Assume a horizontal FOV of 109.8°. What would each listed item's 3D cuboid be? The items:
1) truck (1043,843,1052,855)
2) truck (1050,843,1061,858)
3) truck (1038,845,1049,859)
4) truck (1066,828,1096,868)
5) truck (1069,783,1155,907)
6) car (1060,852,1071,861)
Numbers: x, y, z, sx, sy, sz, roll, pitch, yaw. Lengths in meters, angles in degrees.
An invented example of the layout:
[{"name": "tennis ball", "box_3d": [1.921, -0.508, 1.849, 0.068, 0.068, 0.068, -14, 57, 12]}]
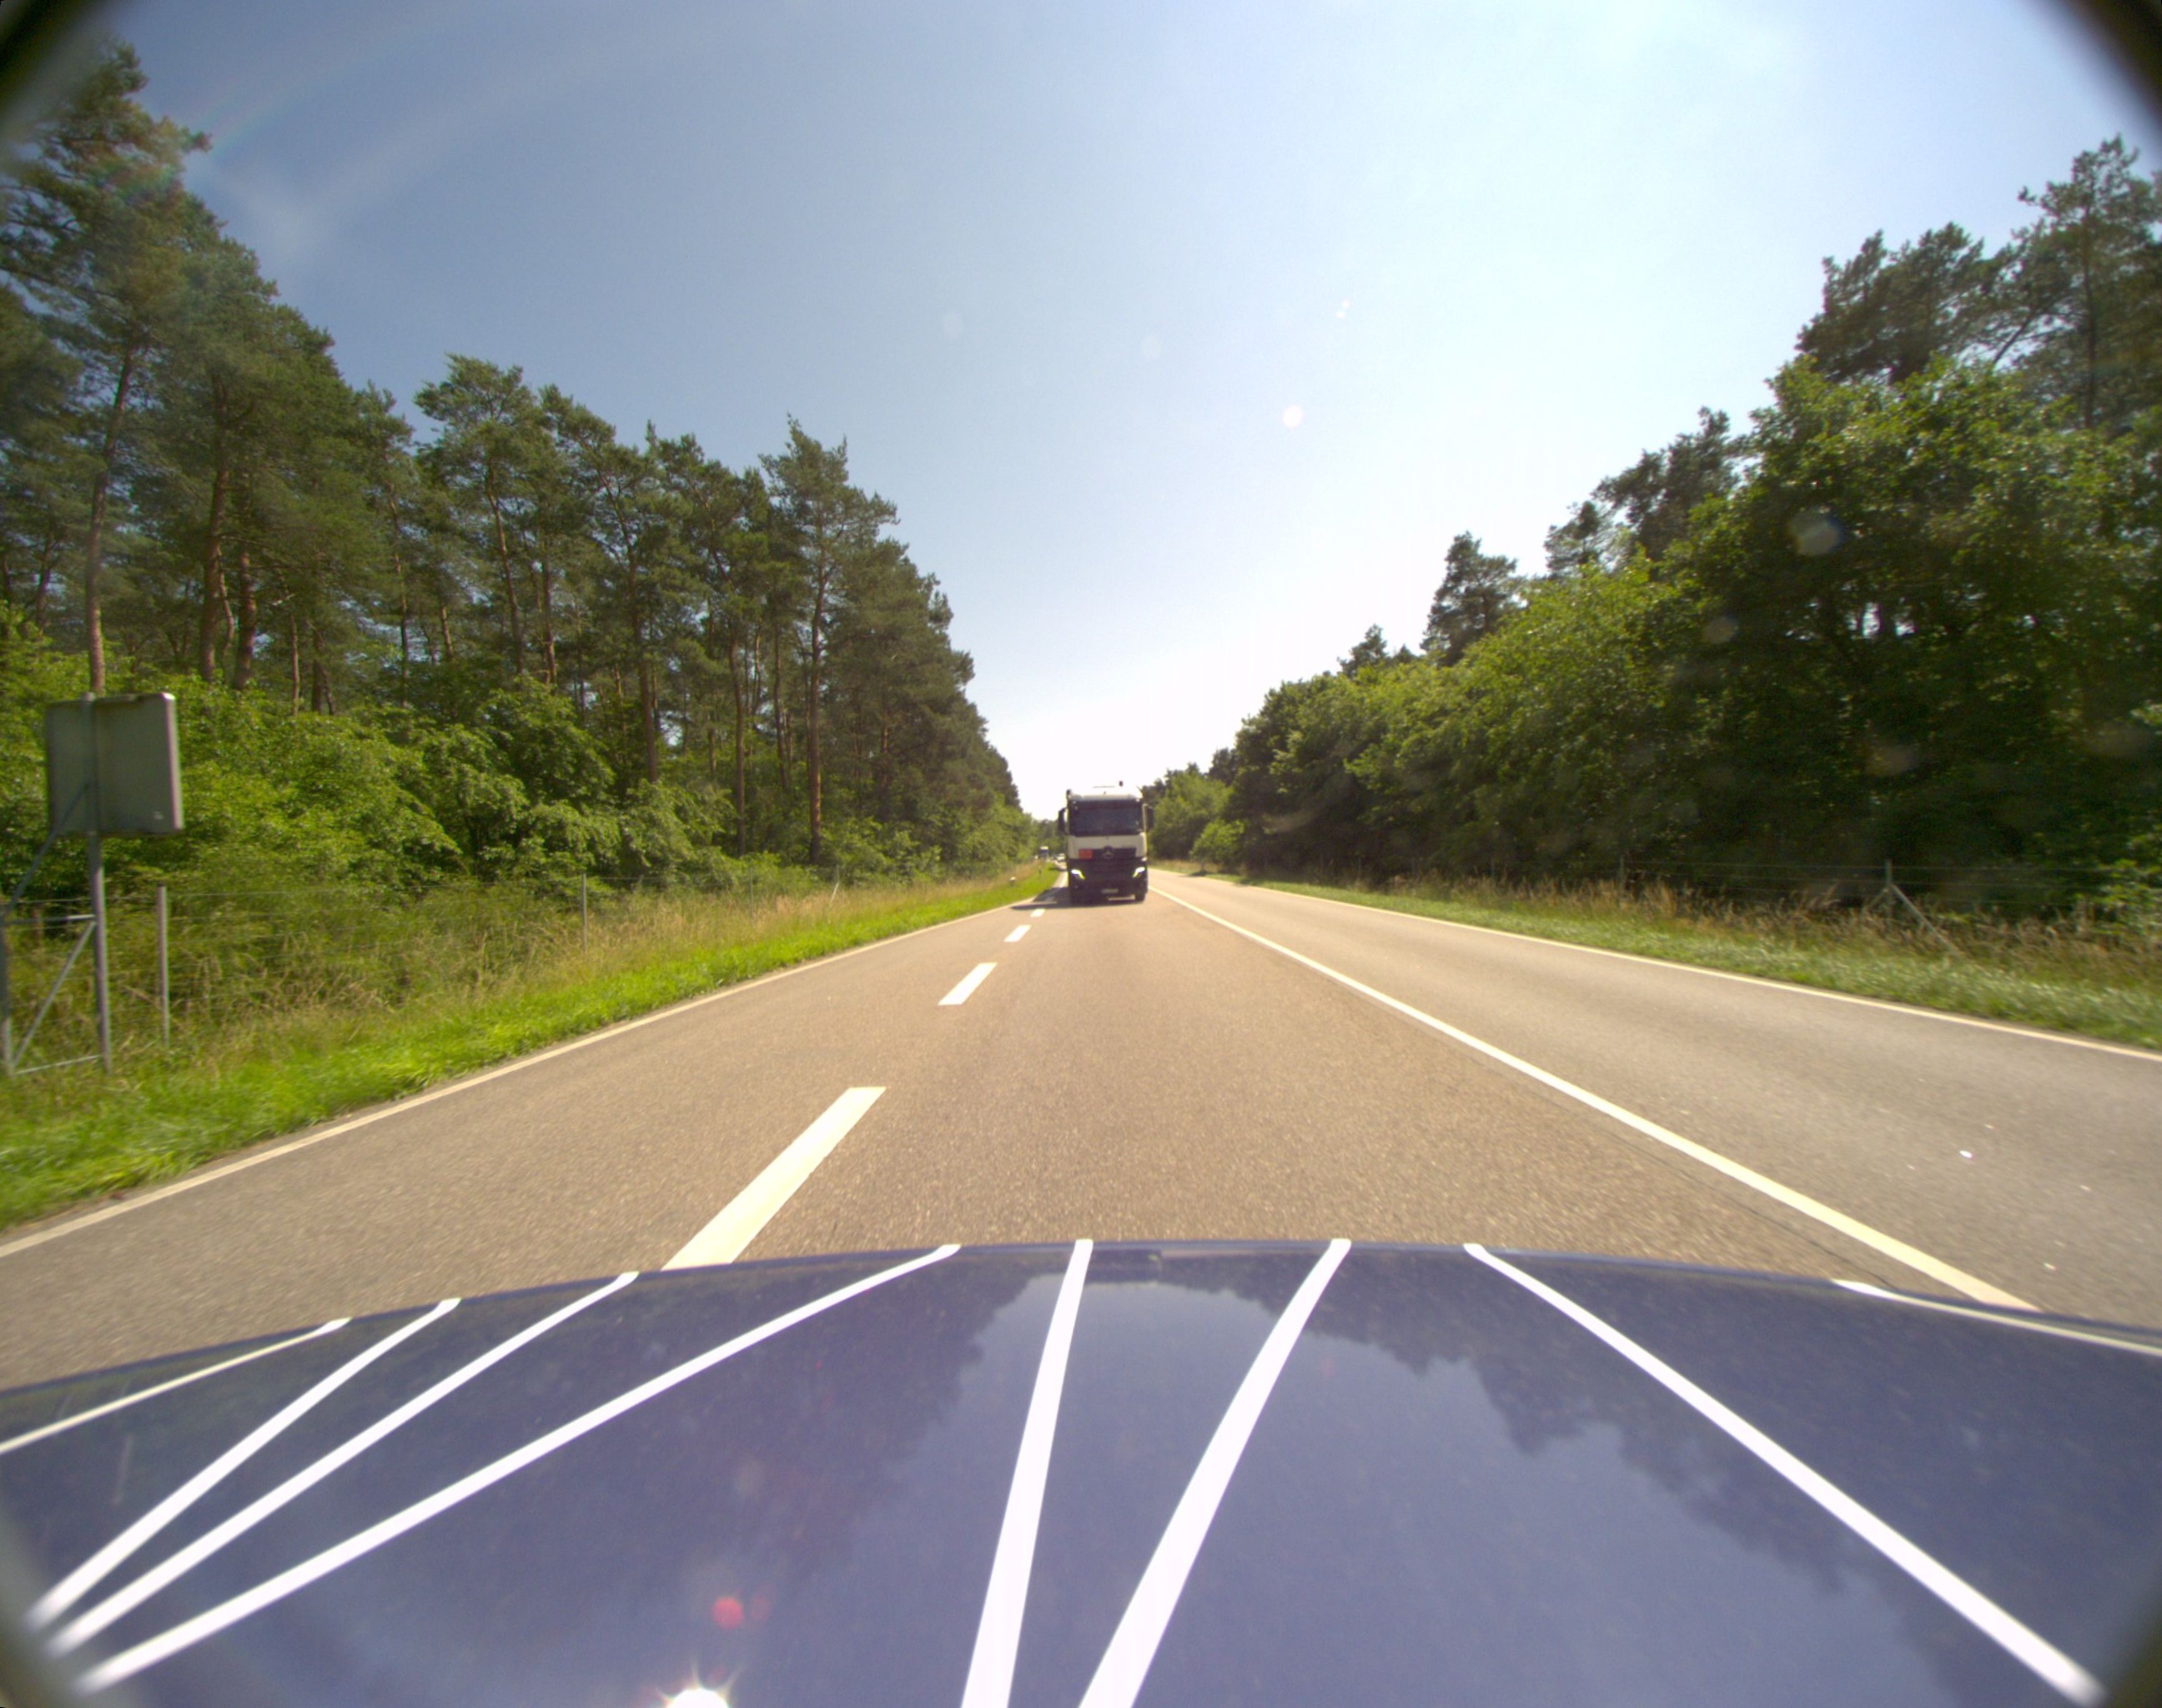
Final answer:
[{"name": "truck", "box_3d": [-10.353, -1.533, 235.356, 2.495, 3.619, 6.100, -2, 0, -5]}, {"name": "truck", "box_3d": [-6.446, -0.827, 191.539, 2.495, 3.619, 6.100, -1, 0, -5]}, {"name": "truck", "box_3d": [-9.816, -0.495, 198.767, 2.495, 3.619, 6.100, -1, 0, -5]}, {"name": "truck", "box_3d": [-0.068, -0.599, 73.669, 2.495, 3.698, 6.222, 0, 0, -4]}, {"name": "truck", "box_3d": [0.891, -0.275, 26.336, 2.435, 3.672, 6.456, -3, 0, -1]}, {"name": "car", "box_3d": [-2.934, 0.444, 140.424, 1.885, 1.462, 3.999, -1, 0, -3]}]
